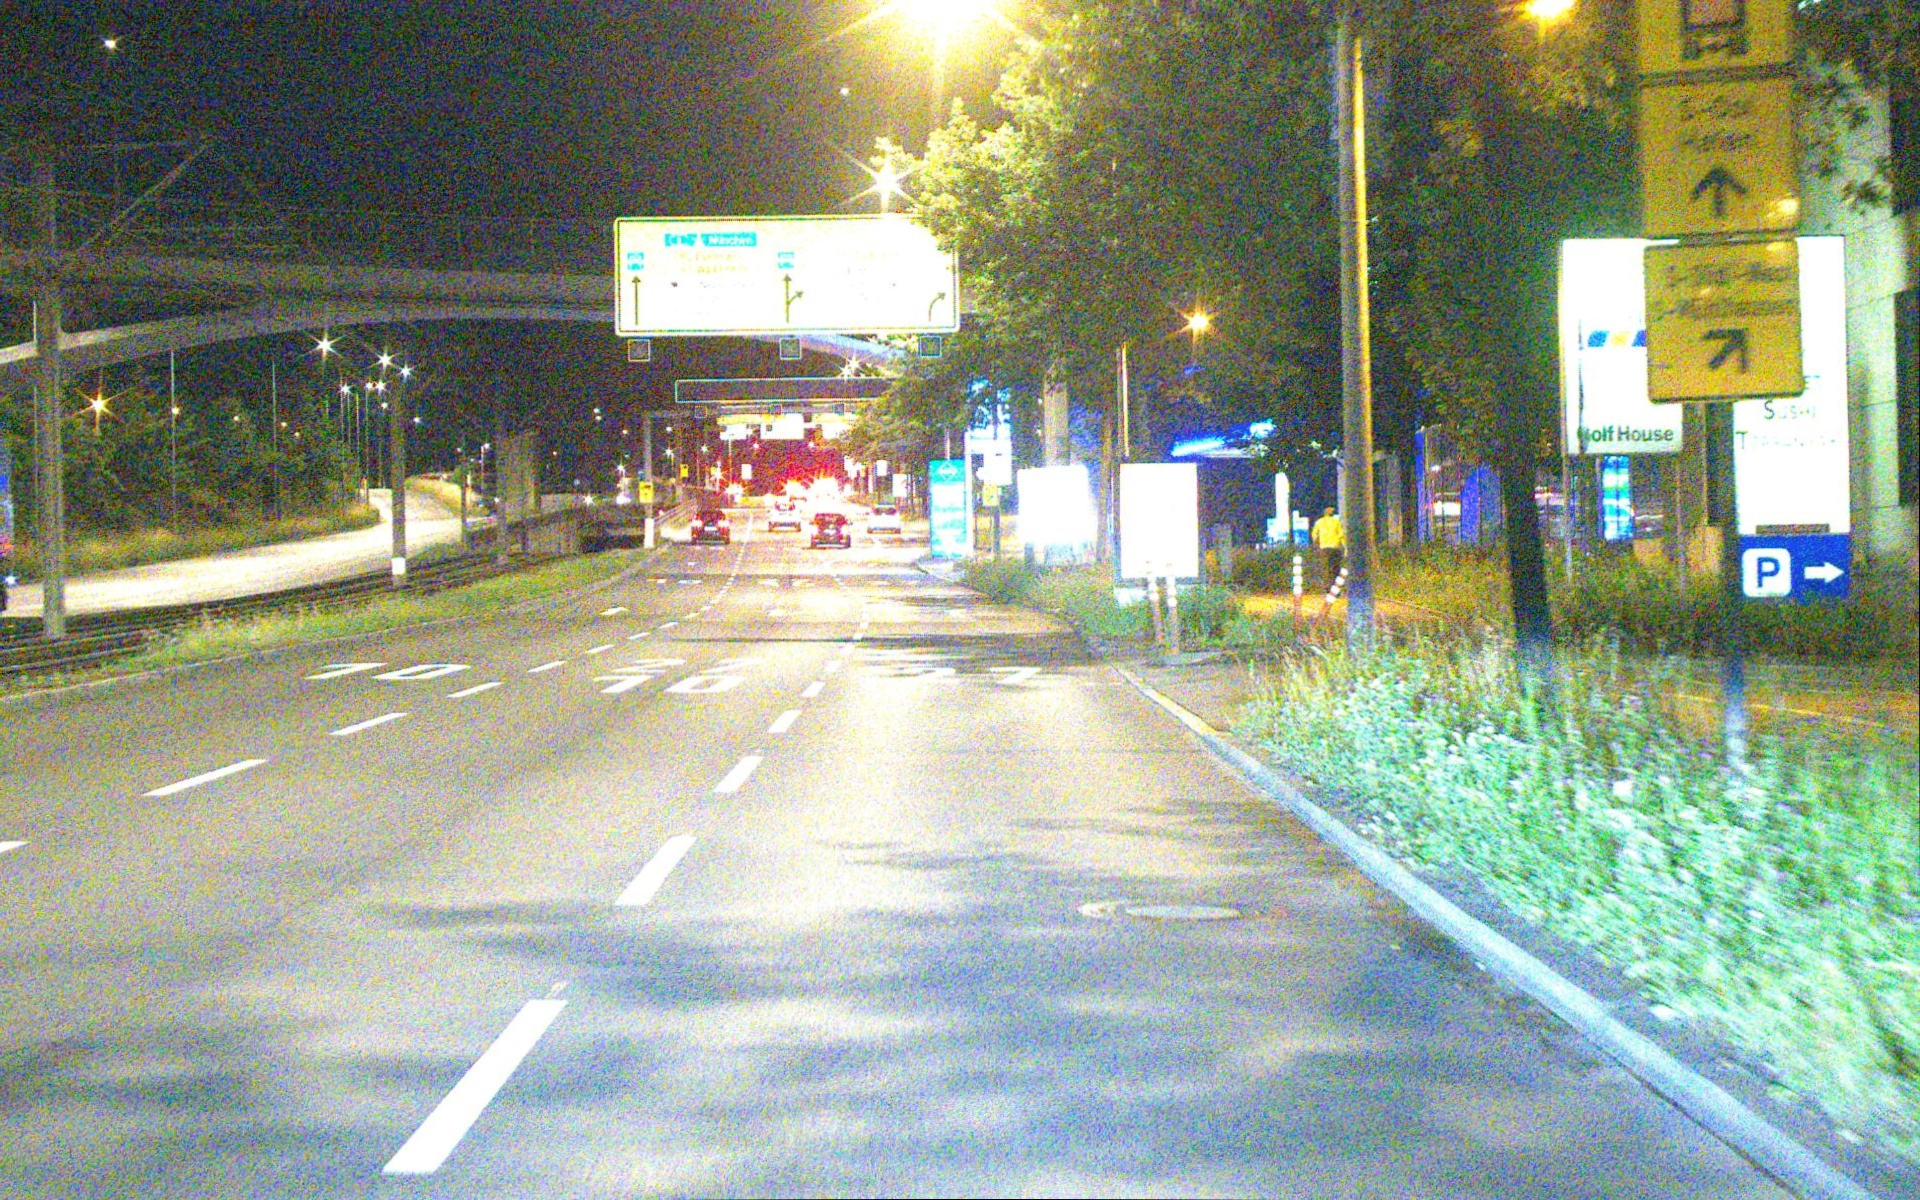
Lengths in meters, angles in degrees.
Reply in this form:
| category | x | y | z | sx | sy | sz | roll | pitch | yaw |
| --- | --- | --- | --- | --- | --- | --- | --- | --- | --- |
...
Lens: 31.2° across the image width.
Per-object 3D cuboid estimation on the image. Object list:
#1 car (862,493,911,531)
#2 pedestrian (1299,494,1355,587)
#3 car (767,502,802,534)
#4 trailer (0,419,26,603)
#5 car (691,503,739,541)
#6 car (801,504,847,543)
| category | x | y | z | sx | sy | sz | roll | pitch | yaw |
| --- | --- | --- | --- | --- | --- | --- | --- | --- | --- |
| car | -4.095 | -4.872 | 191.273 | 2.651 | 2.007 | 5.300 | 1 | 1 | -1 |
| pedestrian | 6.884 | -1.122 | 64.589 | 0.852 | 1.701 | 0.957 | 2 | 1 | -2 |
| car | -9.802 | -4.565 | 191.961 | 1.782 | 1.705 | 4.000 | 0 | 1 | -1 |
| trailer | -22.522 | -1.921 | 72.359 | 3.695 | 3.976 | 8.396 | 1 | 1 | -2 |
| car | -11.395 | -3.611 | 159.960 | 1.968 | 1.705 | 4.000 | 1 | 1 | -1 |
| car | -6.119 | -3.437 | 154.812 | 1.968 | 1.705 | 4.000 | 1 | 1 | -1 |
